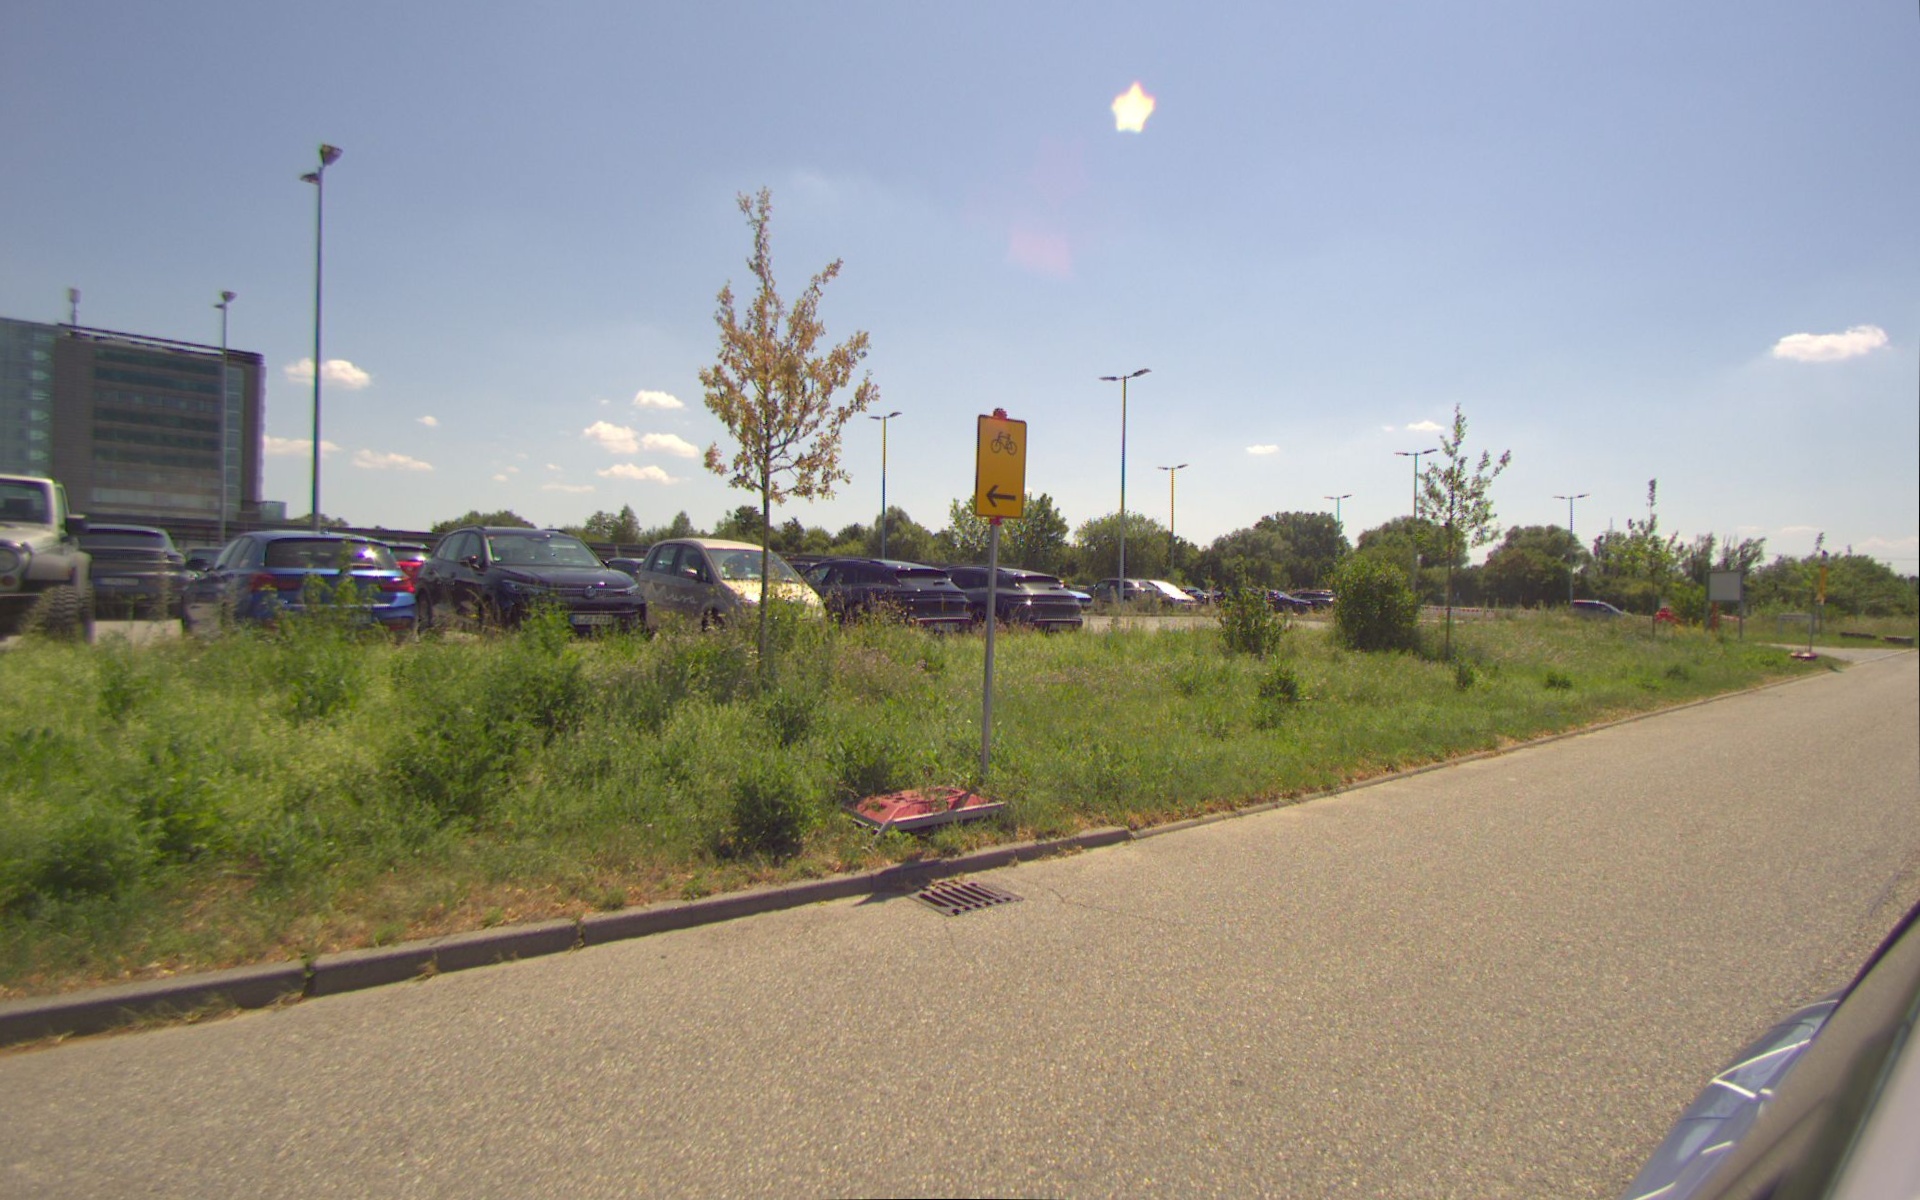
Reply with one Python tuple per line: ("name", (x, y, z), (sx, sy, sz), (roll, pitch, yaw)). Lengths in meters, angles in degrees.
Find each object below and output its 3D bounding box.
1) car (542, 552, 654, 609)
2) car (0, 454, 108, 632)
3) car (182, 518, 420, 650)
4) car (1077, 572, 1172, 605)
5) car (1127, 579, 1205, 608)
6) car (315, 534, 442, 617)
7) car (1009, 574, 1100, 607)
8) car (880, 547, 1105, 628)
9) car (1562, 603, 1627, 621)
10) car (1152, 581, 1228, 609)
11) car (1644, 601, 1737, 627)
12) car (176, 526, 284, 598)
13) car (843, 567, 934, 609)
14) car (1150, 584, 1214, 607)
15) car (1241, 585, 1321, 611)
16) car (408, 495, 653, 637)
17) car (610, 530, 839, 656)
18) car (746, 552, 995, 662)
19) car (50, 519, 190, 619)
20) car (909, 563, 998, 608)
("car", (-10.498, -0.590, 29.244), (1.740, 1.518, 3.632), (0, 2, -43))
("car", (-9.818, -0.518, 10.028), (1.842, 1.546, 3.747), (-2, 2, -37))
("car", (-7.726, -0.198, 11.703), (1.560, 1.273, 3.936), (-2, 2, -44))
("car", (7.545, -0.537, 46.641), (1.531, 1.313, 4.295), (1, 2, -42))
("car", (9.854, -0.305, 48.475), (1.440, 1.239, 3.457), (1, 2, -42))
("car", (-12.259, -0.524, 21.250), (1.498, 1.593, 3.411), (-1, 2, -45))
("car", (4.054, -0.416, 43.860), (1.583, 1.251, 3.844), (1, 2, -42))
("car", (0.490, -0.180, 18.396), (1.875, 1.308, 3.993), (-1, -1, -40))
("car", (49.257, 0.956, 78.576), (3.987, 1.368, 1.620), (-2, -1, 45))
("car", (11.447, -0.274, 50.451), (1.440, 1.239, 3.457), (1, 2, -42))
("car", (40.912, 0.785, 56.734), (3.987, 1.368, 1.620), (-2, -1, 45))
("car", (-16.920, -0.878, 23.393), (1.572, 1.518, 3.632), (0, 2, -43))
("car", (-2.659, -0.459, 37.323), (1.534, 1.408, 3.433), (1, 2, -42))
("car", (15.119, -0.300, 68.943), (3.987, 1.486, 1.620), (-2, -1, 45))
("car", (18.081, -0.112, 57.133), (3.987, 1.368, 1.620), (-2, -1, 45))
("car", (-5.807, -0.335, 13.432), (1.660, 1.448, 4.027), (0, -4, -44))
("car", (-3.623, -0.156, 15.153), (1.591, 1.644, 3.841), (0, 2, -44))
("car", (-1.596, 0.032, 16.688), (1.784, 1.565, 4.394), (0, 2, -42))
("car", (-15.186, -0.565, 18.232), (1.740, 1.617, 3.632), (0, 2, -43))
("car", (-0.292, -0.567, 39.071), (1.534, 1.565, 3.433), (1, 2, -42))
